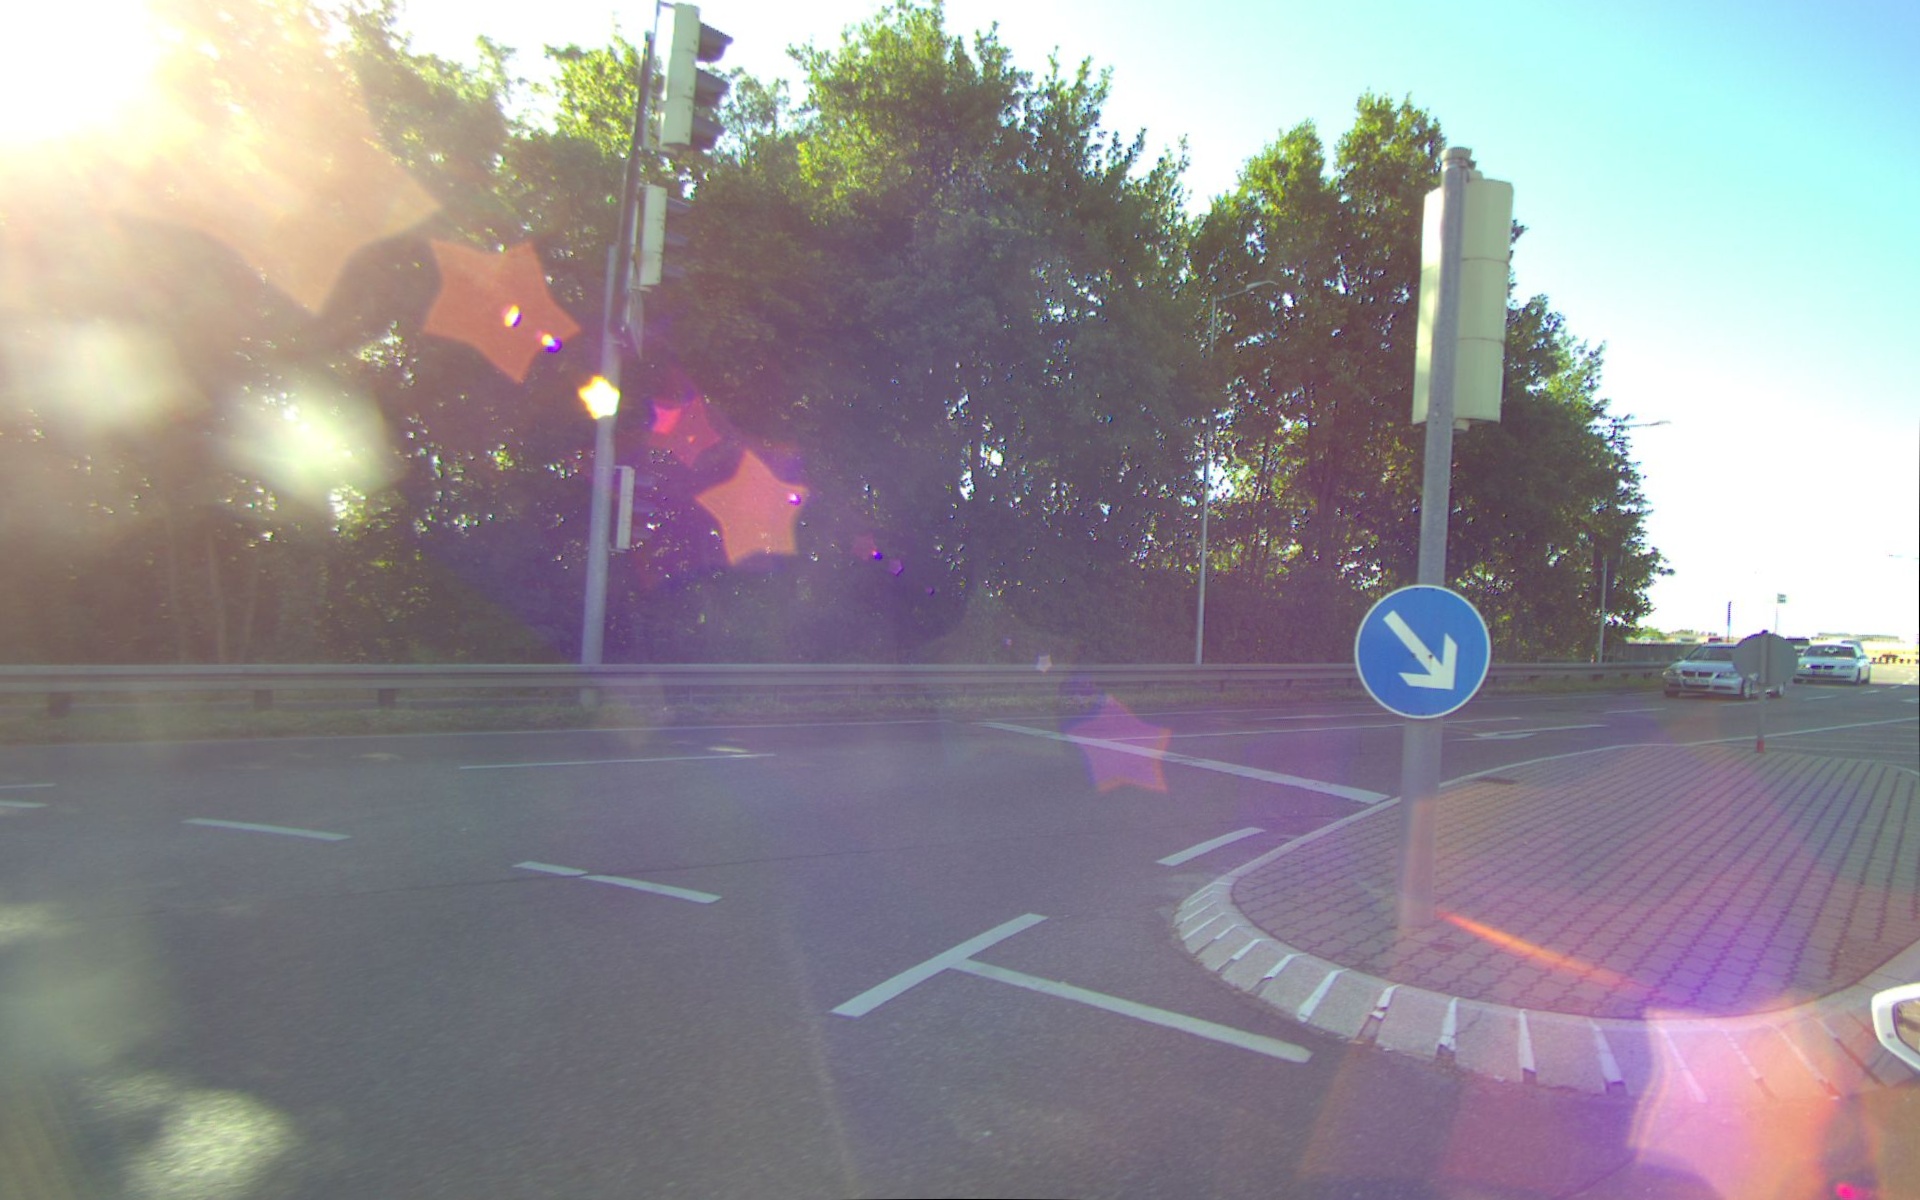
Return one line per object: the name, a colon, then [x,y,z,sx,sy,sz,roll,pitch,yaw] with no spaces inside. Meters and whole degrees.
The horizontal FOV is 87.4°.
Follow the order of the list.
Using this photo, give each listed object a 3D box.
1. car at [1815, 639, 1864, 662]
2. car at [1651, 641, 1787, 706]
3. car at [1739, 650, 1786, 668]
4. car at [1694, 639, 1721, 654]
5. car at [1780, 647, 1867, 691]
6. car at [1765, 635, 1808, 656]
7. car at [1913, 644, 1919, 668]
car: [70.827,4.058,80.948,1.938,1.721,3.997,2,-1,25]
car: [19.842,1.877,26.225,3.874,1.494,1.855,2,-1,-38]
car: [76.723,5.625,96.119,2.229,1.528,4.000,3,-1,20]
car: [81.024,5.062,108.945,1.381,1.471,3.351,2,-1,20]
car: [31.736,2.477,36.865,4.382,1.409,2.075,2,-1,-45]
car: [65.380,3.610,79.546,1.587,1.530,3.557,2,-1,22]
car: [60.348,3.520,61.350,1.939,1.494,4.150,2,-1,27]
